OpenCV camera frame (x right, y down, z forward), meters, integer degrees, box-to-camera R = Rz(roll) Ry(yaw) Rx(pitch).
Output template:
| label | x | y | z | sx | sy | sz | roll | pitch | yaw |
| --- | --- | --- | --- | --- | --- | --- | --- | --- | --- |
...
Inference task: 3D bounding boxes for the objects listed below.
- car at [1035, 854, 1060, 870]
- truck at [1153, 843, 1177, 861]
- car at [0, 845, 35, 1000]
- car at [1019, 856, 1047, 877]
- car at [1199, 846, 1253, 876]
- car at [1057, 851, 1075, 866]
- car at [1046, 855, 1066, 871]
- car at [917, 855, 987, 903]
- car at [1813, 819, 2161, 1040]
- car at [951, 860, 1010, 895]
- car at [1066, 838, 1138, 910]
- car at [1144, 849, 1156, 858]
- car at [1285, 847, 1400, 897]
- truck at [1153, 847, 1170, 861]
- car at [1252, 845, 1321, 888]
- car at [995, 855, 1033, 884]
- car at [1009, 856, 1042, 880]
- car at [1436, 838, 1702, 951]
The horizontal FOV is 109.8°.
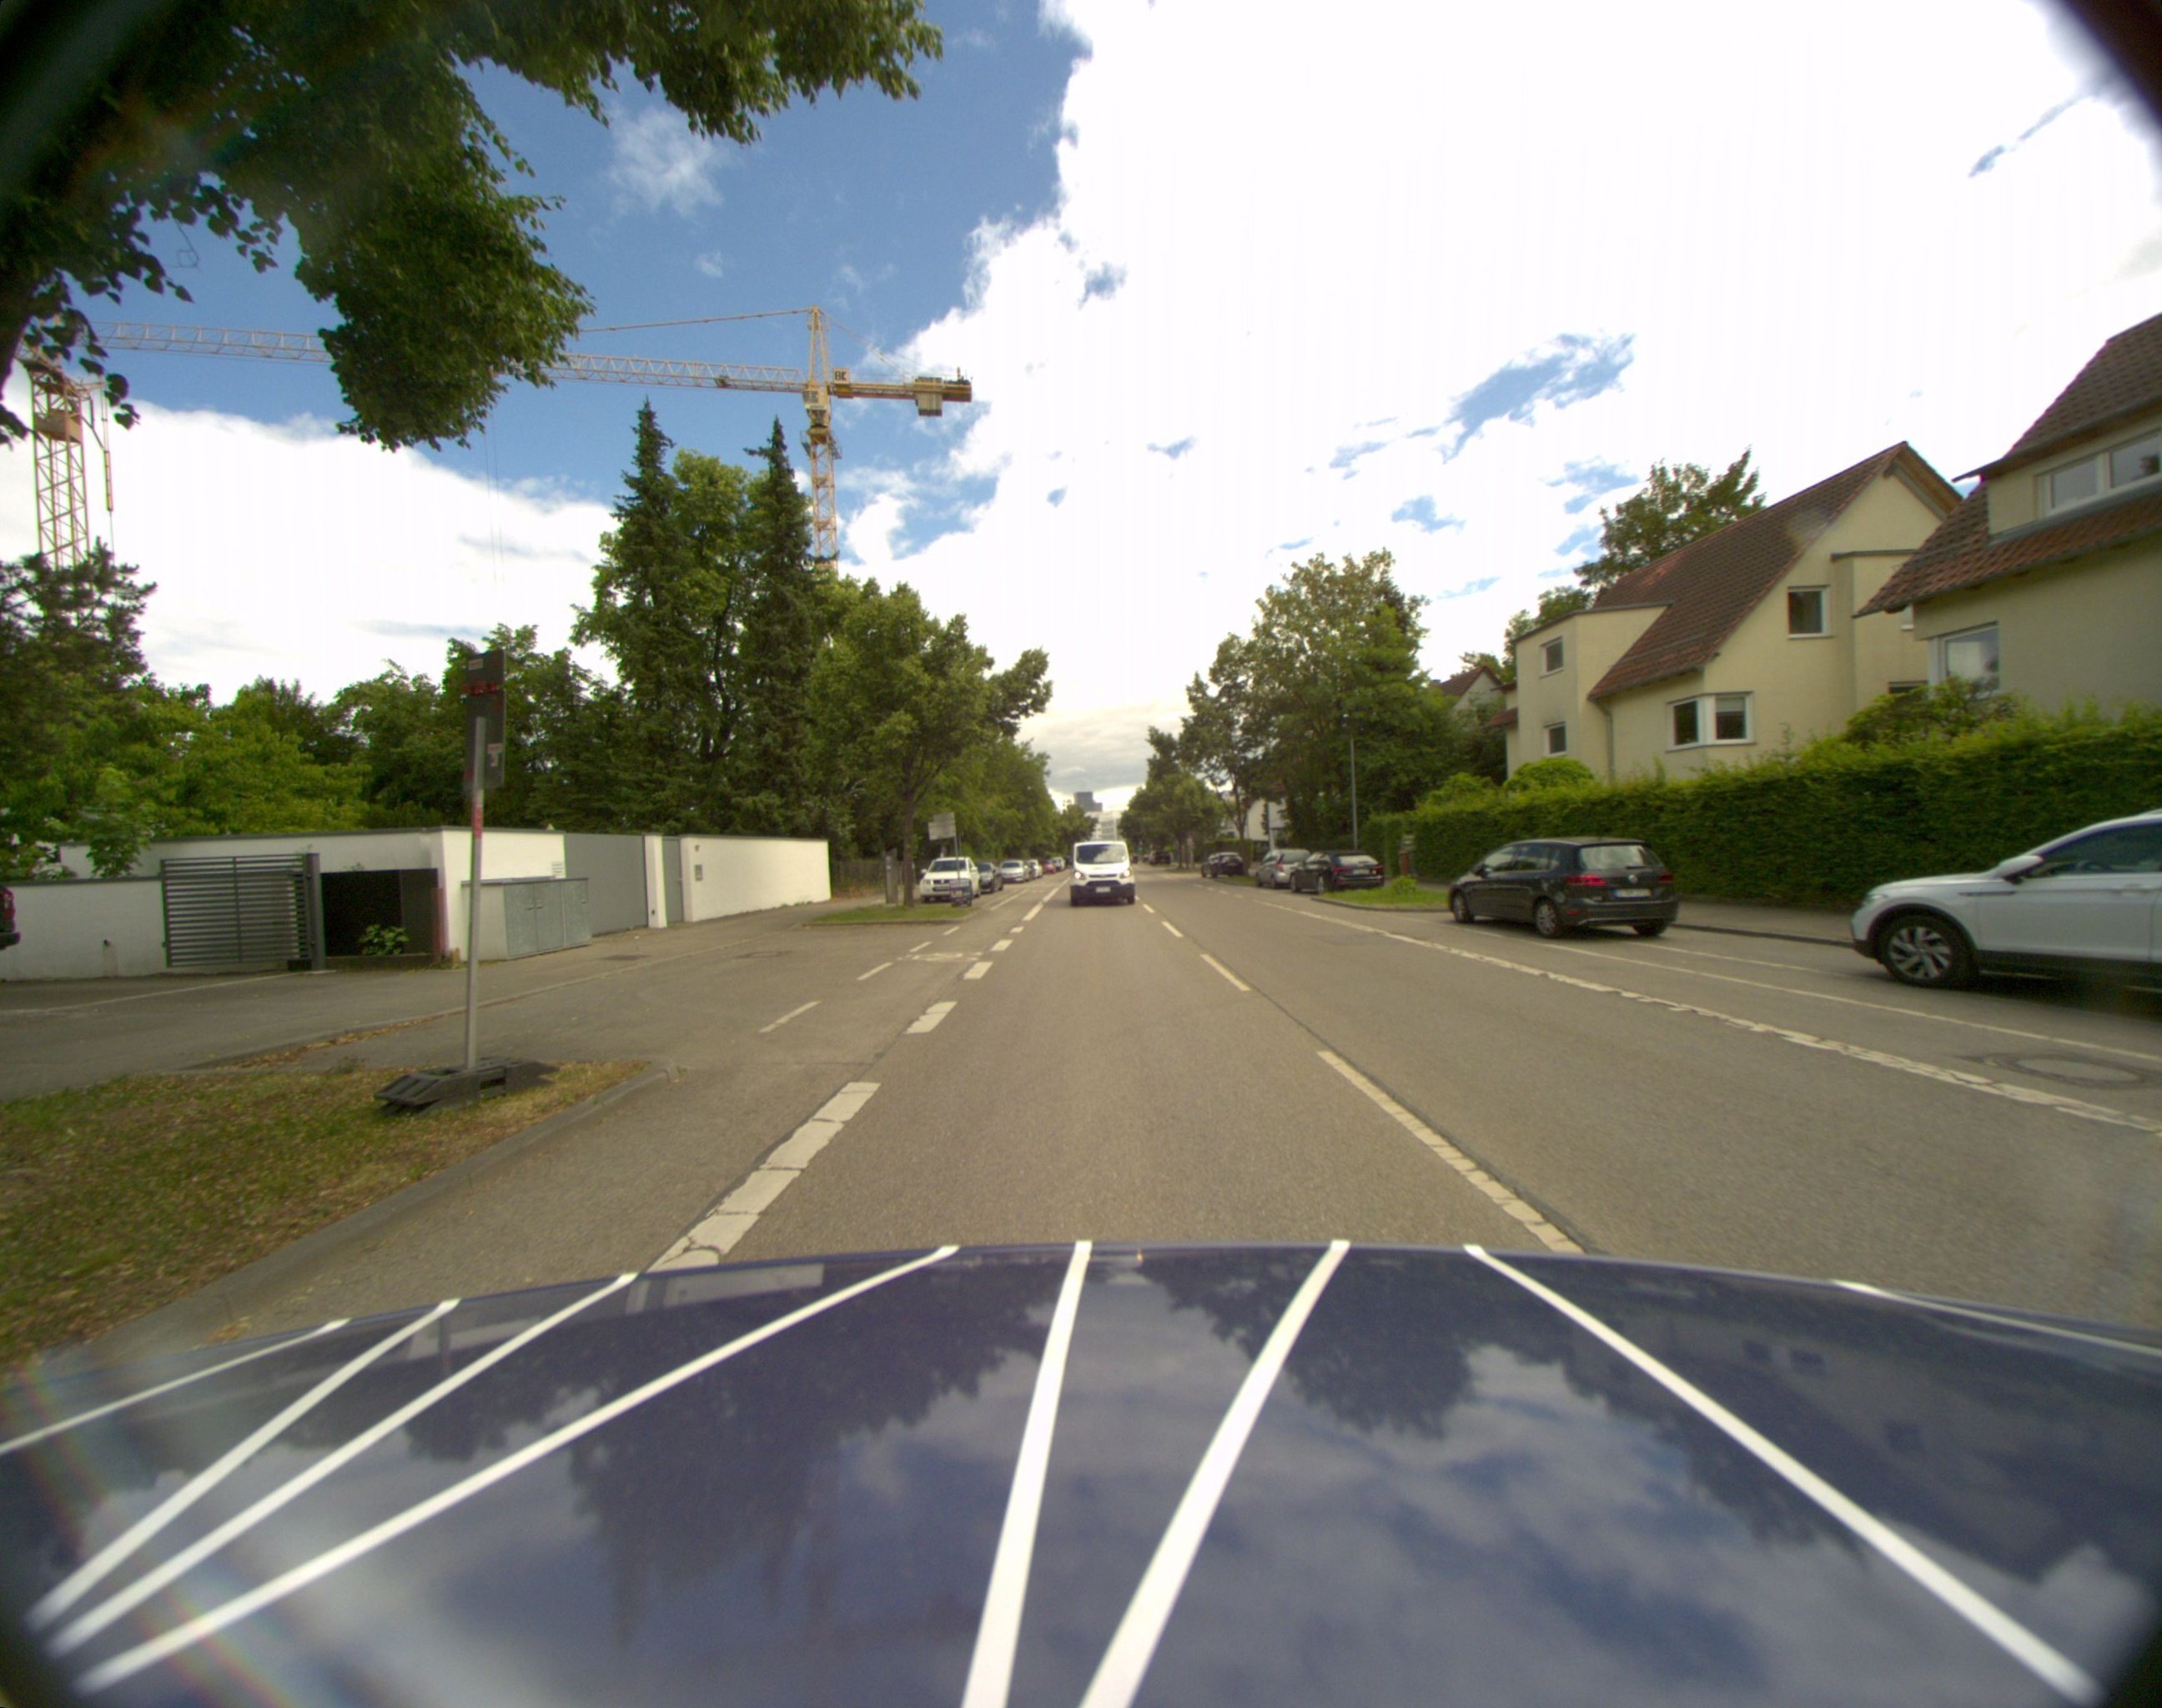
| label | x | y | z | sx | sy | sz | roll | pitch | yaw |
| --- | --- | --- | --- | --- | --- | --- | --- | --- | --- |
| car | -3.279 | 0.809 | 75.075 | 1.863 | 1.405 | 4.444 | -4 | 0 | 3 |
| truck | 10.425 | -0.241 | 94.945 | 2.429 | 2.031 | 5.995 | -2 | 0 | 2 |
| car | -15.752 | 0.958 | 8.269 | 5.199 | 1.893 | 2.047 | -2 | 1 | -7 |
| car | -3.754 | 0.948 | 60.162 | 1.772 | 1.501 | 4.031 | -2 | 1 | 3 |
| car | 8.545 | 0.380 | 45.123 | 2.100 | 1.637 | 5.037 | -1 | 0 | -1 |
| car | -2.035 | 0.544 | 101.909 | 1.998 | 1.805 | 4.827 | -3 | 1 | 3 |
| car | -2.756 | 1.005 | 84.575 | 1.820 | 1.506 | 4.680 | -4 | 1 | 2 |
| car | -4.882 | 0.899 | 29.326 | 1.905 | 1.633 | 4.116 | -2 | 1 | 0 |
| car | 8.836 | 0.529 | 5.865 | 1.825 | 1.624 | 4.585 | -2 | 0 | -3 |
| car | -4.556 | 1.016 | 35.181 | 1.868 | 1.408 | 4.603 | -2 | 0 | 3 |
| car | 0.753 | 0.545 | 24.958 | 1.998 | 2.002 | 5.189 | -4 | 1 | 3 |
| car | 11.897 | -0.117 | 131.005 | 1.750 | 1.400 | 4.927 | -1 | 0 | 2 |
| car | 8.644 | 0.528 | 25.652 | 1.999 | 1.476 | 4.889 | -1 | 0 | -2 |
| truck | 10.786 | -0.024 | 102.302 | 1.971 | 1.857 | 5.665 | -1 | 1 | 3 |
| car | 8.354 | 0.464 | 31.209 | 1.722 | 1.604 | 3.909 | -2 | 0 | 0 |
| car | -4.245 | 0.922 | 48.740 | 1.866 | 1.602 | 4.686 | -3 | 1 | 1 |
| car | -3.950 | 0.976 | 54.731 | 1.706 | 1.501 | 4.538 | -3 | 0 | 2 |
| car | 7.943 | 0.568 | 12.935 | 1.681 | 1.543 | 4.271 | -2 | 0 | -1 |
